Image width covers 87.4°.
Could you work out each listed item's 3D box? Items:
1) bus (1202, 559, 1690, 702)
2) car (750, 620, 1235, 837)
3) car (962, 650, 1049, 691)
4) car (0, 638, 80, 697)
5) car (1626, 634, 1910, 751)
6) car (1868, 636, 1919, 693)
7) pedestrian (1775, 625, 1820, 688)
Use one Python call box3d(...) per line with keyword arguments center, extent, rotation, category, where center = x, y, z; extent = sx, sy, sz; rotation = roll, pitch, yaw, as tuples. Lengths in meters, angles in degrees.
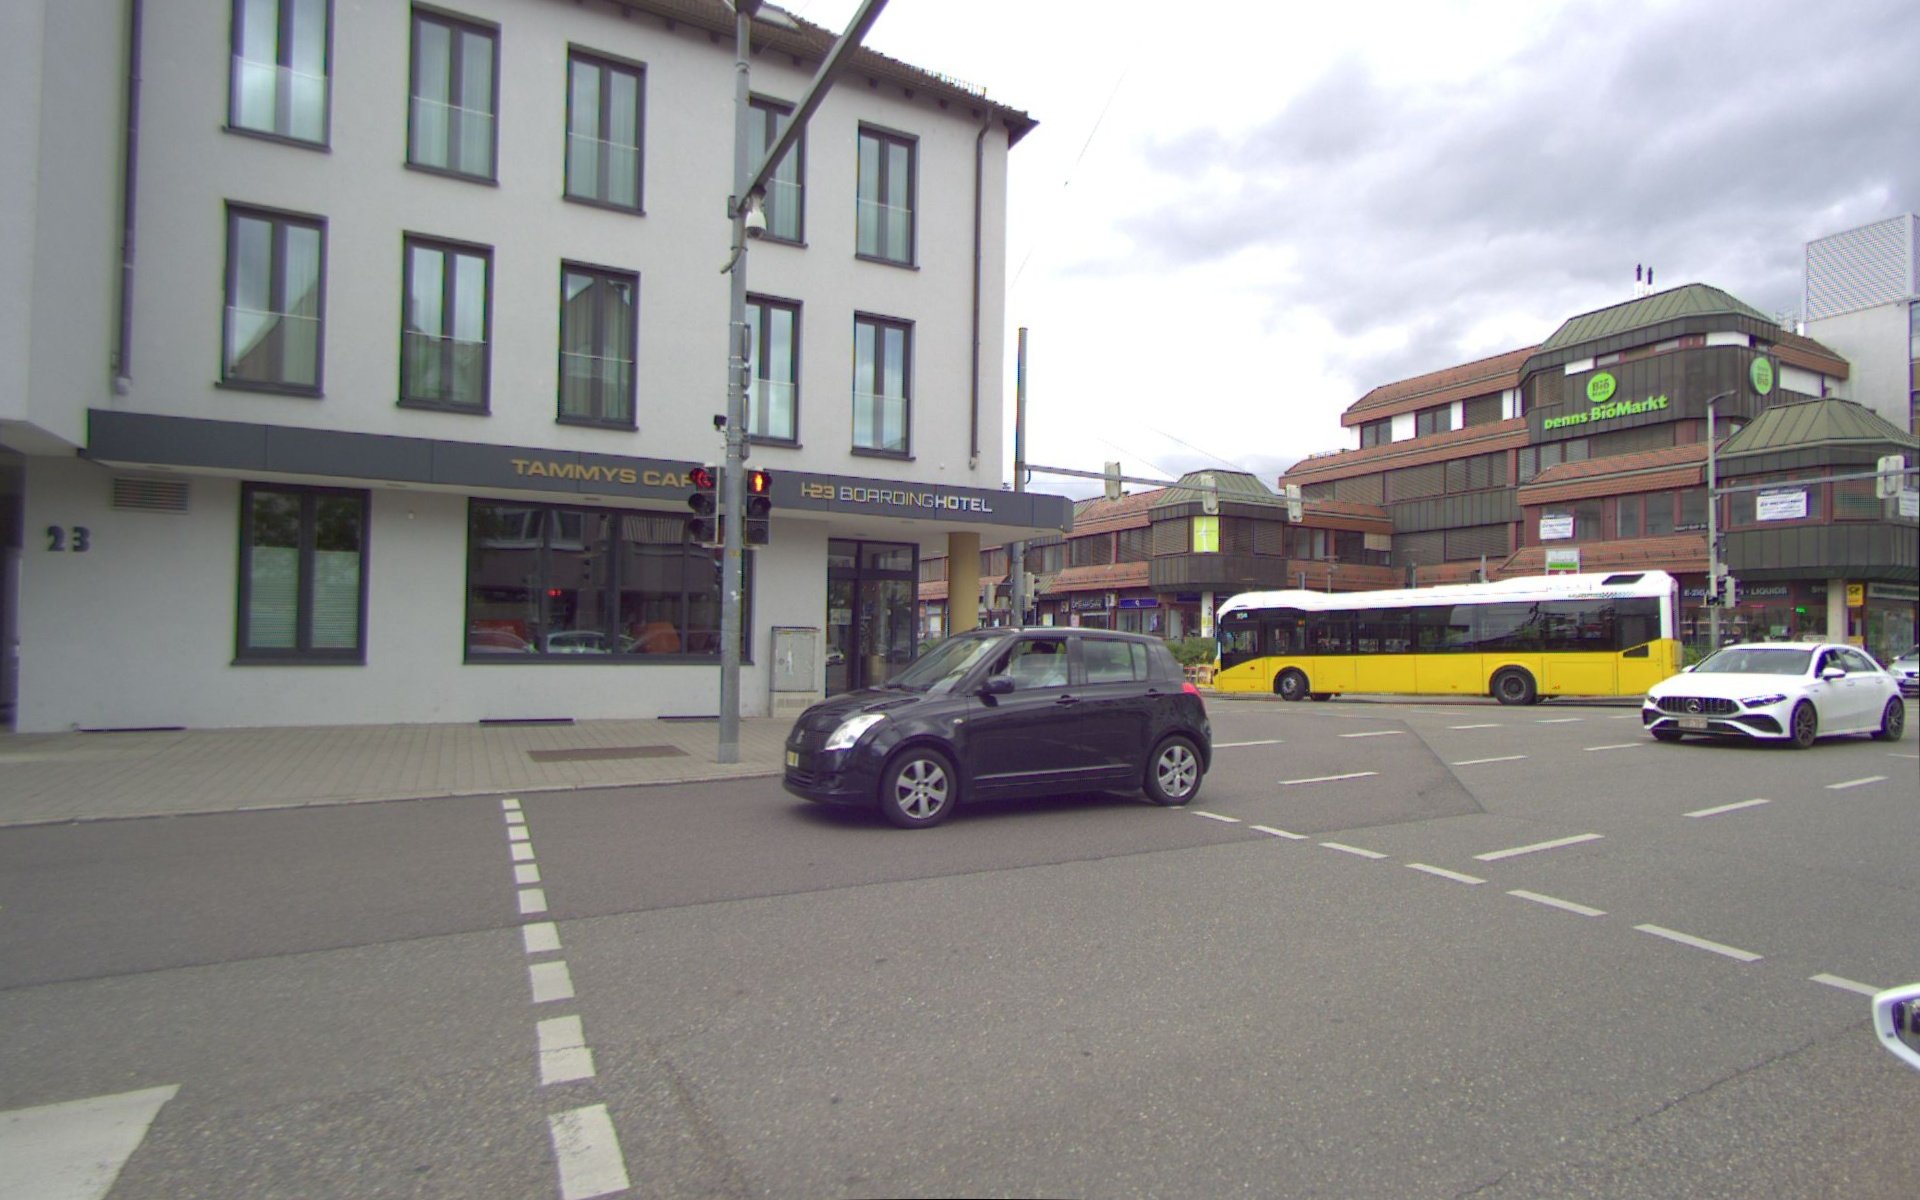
box3d(center=(13.195, 1.067, 28.645), extent=(12.120, 3.370, 2.984), rotation=(-3, -4, 39), category="bus")
box3d(center=(0.297, 0.939, 8.516), extent=(3.768, 1.478, 1.738), rotation=(1, -2, -27), category="car")
box3d(center=(1.698, 2.710, 38.704), extent=(1.790, 1.505, 3.978), rotation=(2, -4, -24), category="car")
box3d(center=(-20.563, 1.395, 20.704), extent=(3.303, 1.195, 1.392), rotation=(1, -4, -23), category="car")
box3d(center=(11.710, 1.236, 14.516), extent=(4.183, 1.478, 1.737), rotation=(1, -2, -29), category="car")
box3d(center=(26.342, 1.667, 26.791), extent=(4.142, 1.436, 1.630), rotation=(0, -3, -25), category="car")
box3d(center=(23.128, 1.546, 27.742), extent=(0.769, 1.715, 0.745), rotation=(1, -1, -31), category="pedestrian")
